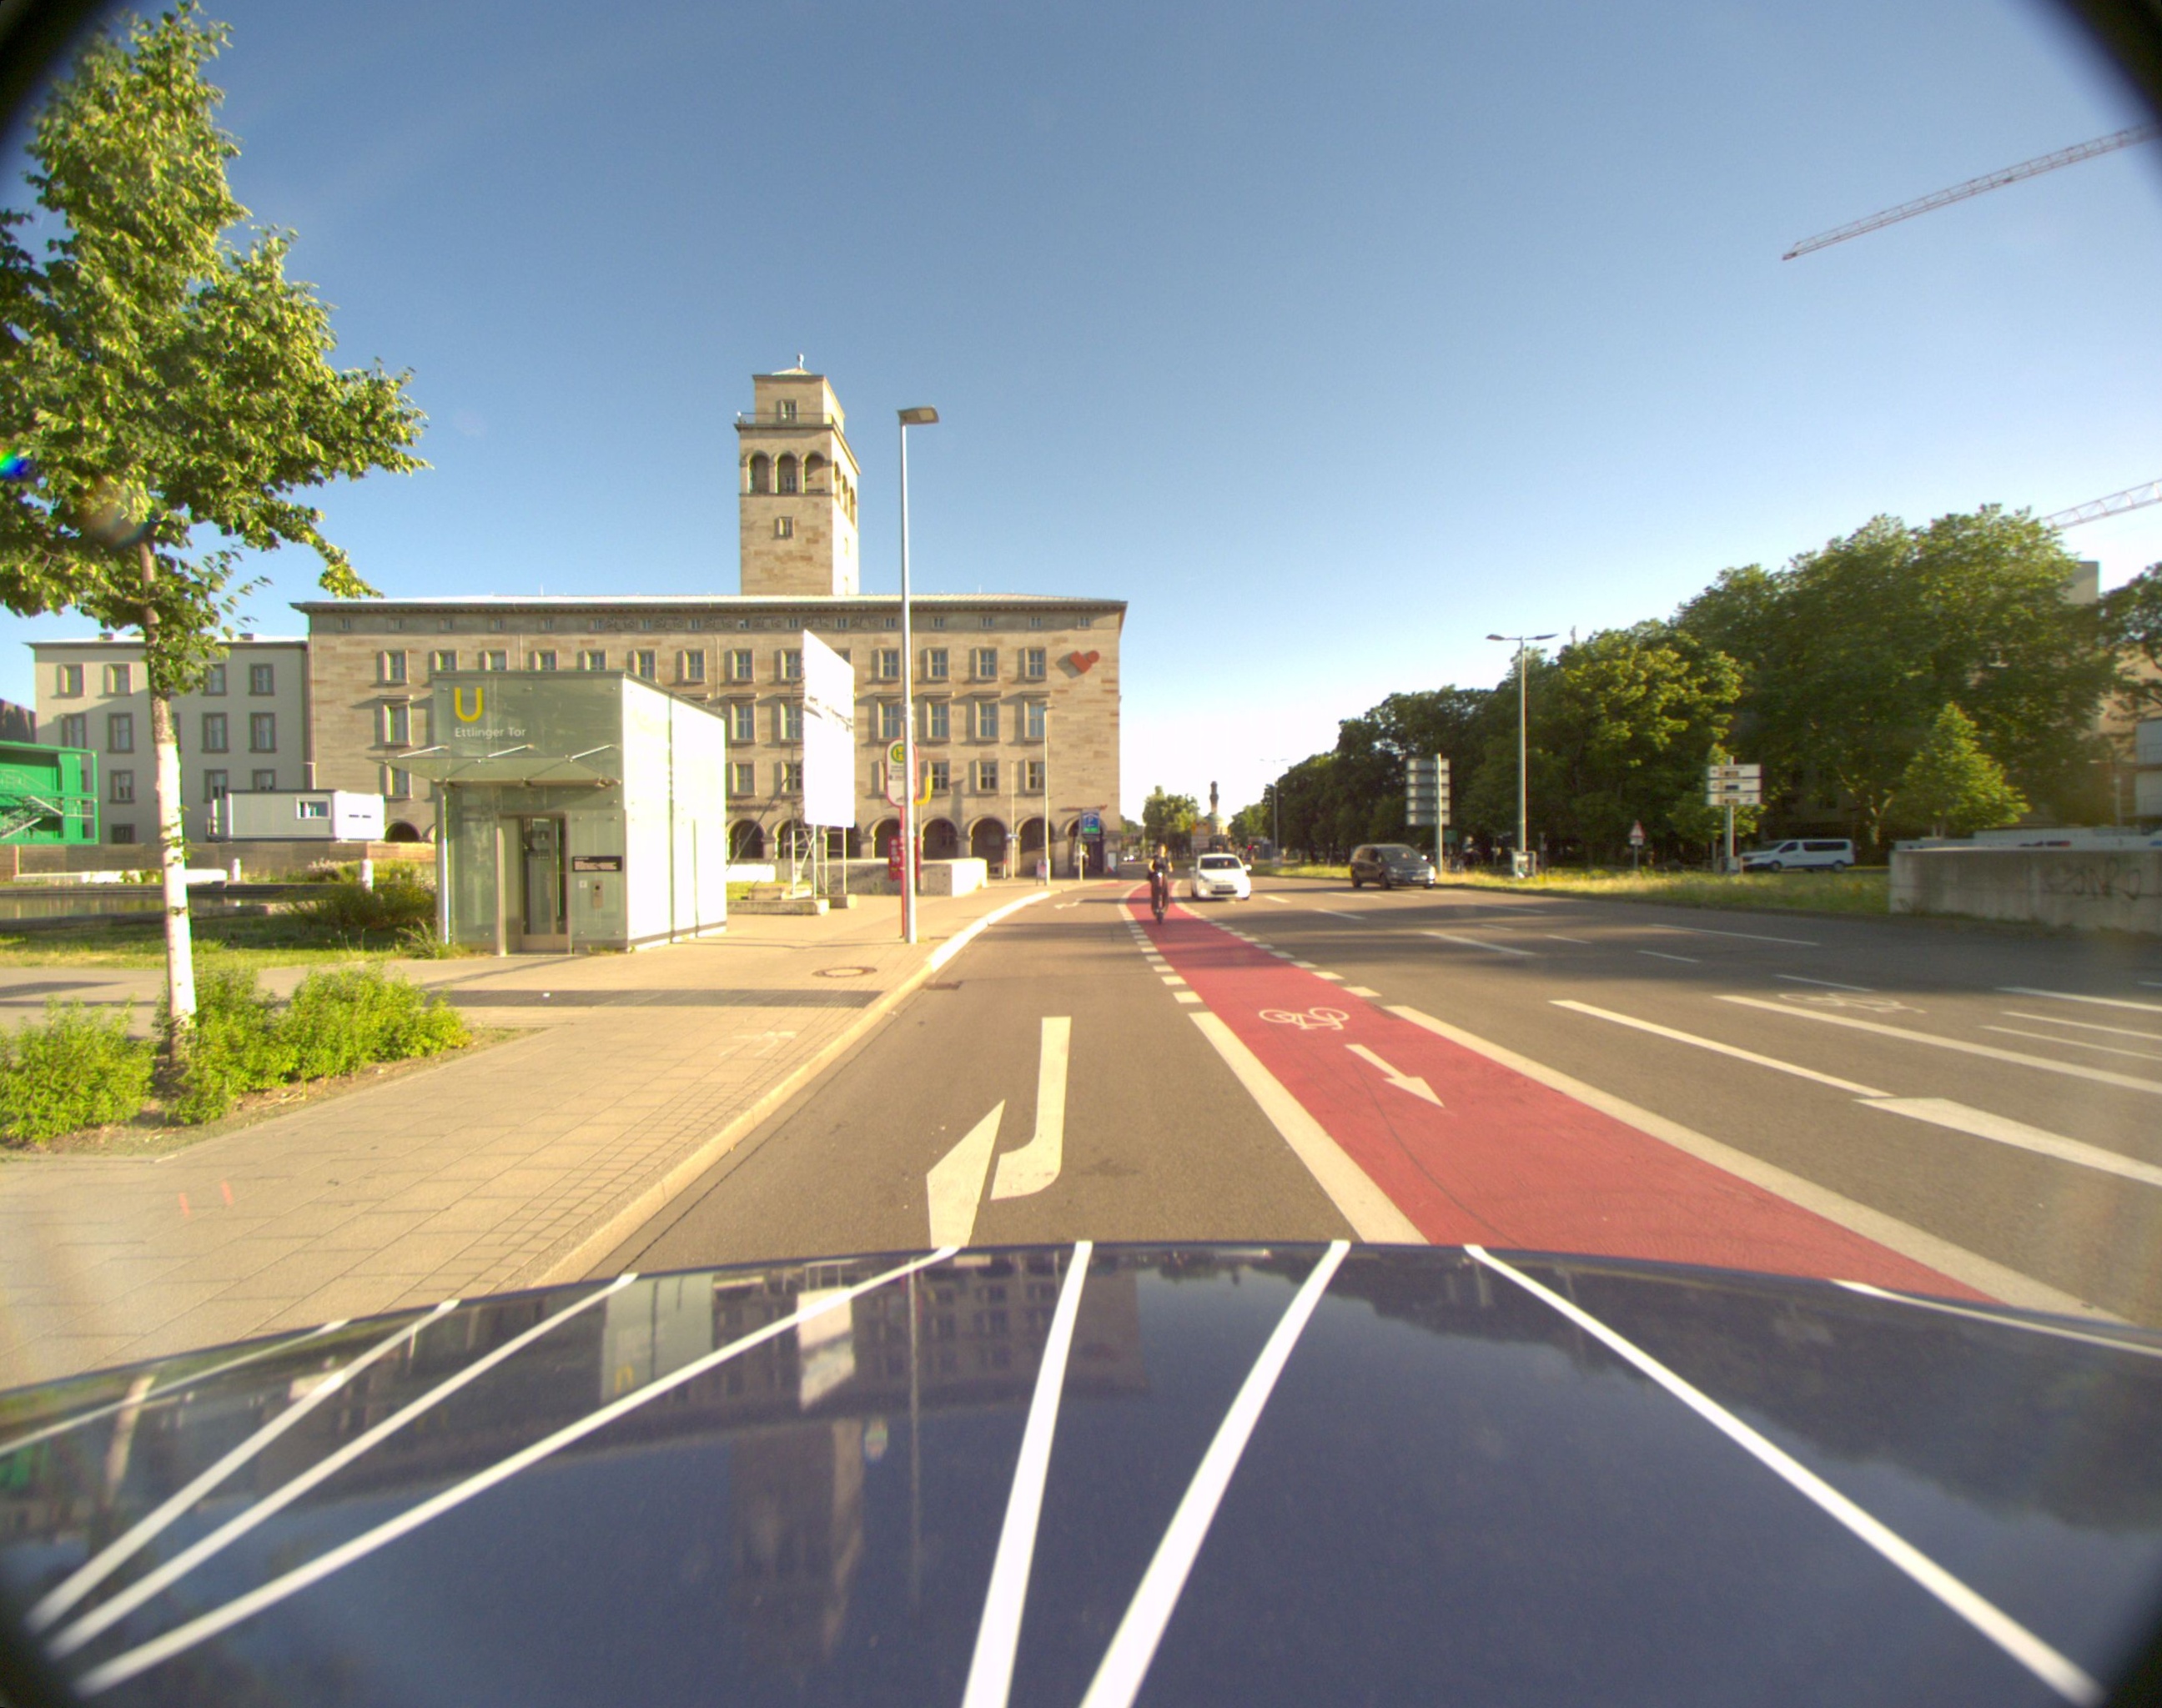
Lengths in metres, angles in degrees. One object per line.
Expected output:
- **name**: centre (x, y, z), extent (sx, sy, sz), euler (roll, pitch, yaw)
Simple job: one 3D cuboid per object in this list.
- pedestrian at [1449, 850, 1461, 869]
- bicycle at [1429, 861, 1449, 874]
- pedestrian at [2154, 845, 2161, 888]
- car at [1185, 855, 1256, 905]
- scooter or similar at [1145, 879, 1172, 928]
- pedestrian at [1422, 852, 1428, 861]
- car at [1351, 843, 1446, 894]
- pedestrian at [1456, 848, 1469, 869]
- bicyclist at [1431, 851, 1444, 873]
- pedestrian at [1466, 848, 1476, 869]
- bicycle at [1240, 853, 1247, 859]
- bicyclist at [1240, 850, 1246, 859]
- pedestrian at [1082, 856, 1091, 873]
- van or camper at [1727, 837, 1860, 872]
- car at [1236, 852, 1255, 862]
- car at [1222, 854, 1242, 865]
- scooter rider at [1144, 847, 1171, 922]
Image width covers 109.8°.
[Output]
- **pedestrian**: centre (32.080, 0.442, 65.153), extent (0.744, 1.631, 0.726), euler (-1, 1, 3)
- **bicycle**: centre (24.474, 0.915, 52.001), extent (0.613, 0.856, 1.951), euler (-1, 0, 5)
- **pedestrian**: centre (39.793, 0.456, 27.565), extent (0.581, 1.549, 0.835), euler (0, 0, -2)
- **car**: centre (4.490, 0.801, 24.943), extent (1.678, 1.455, 3.765), euler (-2, 0, 1)
- **scooter or similar**: centre (1.715, 1.086, 16.961), extent (0.556, 1.025, 1.118), euler (0, 0, 4)
- **pedestrian**: centre (52.800, 0.355, 116.540), extent (0.733, 1.332, 0.599), euler (-1, 1, 2)
- **car**: centre (11.307, 0.484, 27.382), extent (1.733, 1.629, 4.000), euler (-2, 0, 1)
- **pedestrian**: centre (32.868, 0.396, 65.439), extent (0.773, 1.730, 0.761), euler (-1, 1, 3)
- **bicyclist**: centre (24.476, 0.532, 52.126), extent (0.608, 1.480, 0.681), euler (-1, 0, 5)
- **pedestrian**: centre (33.522, 0.379, 65.363), extent (0.525, 1.730, 0.655), euler (-1, 1, 3)
- **bicycle**: centre (31.537, 0.350, 147.572), extent (0.844, 1.223, 2.018), euler (0, 0, 29)
- **bicyclist**: centre (31.512, 0.063, 147.533), extent (0.850, 1.610, 0.974), euler (0, 1, 29)
- **pedestrian**: centre (0.466, 0.992, 70.666), extent (0.778, 1.560, 0.952), euler (0, 0, -2)
- **van or camper**: centre (42.282, 0.007, 45.203), extent (5.677, 2.002, 2.257), euler (0, 2, 1)
- **car**: centre (25.899, 0.432, 119.790), extent (1.938, 1.517, 4.587), euler (-1, 0, 0)
- **car**: centre (21.257, 0.721, 107.402), extent (1.999, 1.555, 4.060), euler (0, 0, 0)
- **scooter rider**: centre (1.691, 0.667, 16.857), extent (0.562, 1.622, 0.650), euler (0, 1, 5)
